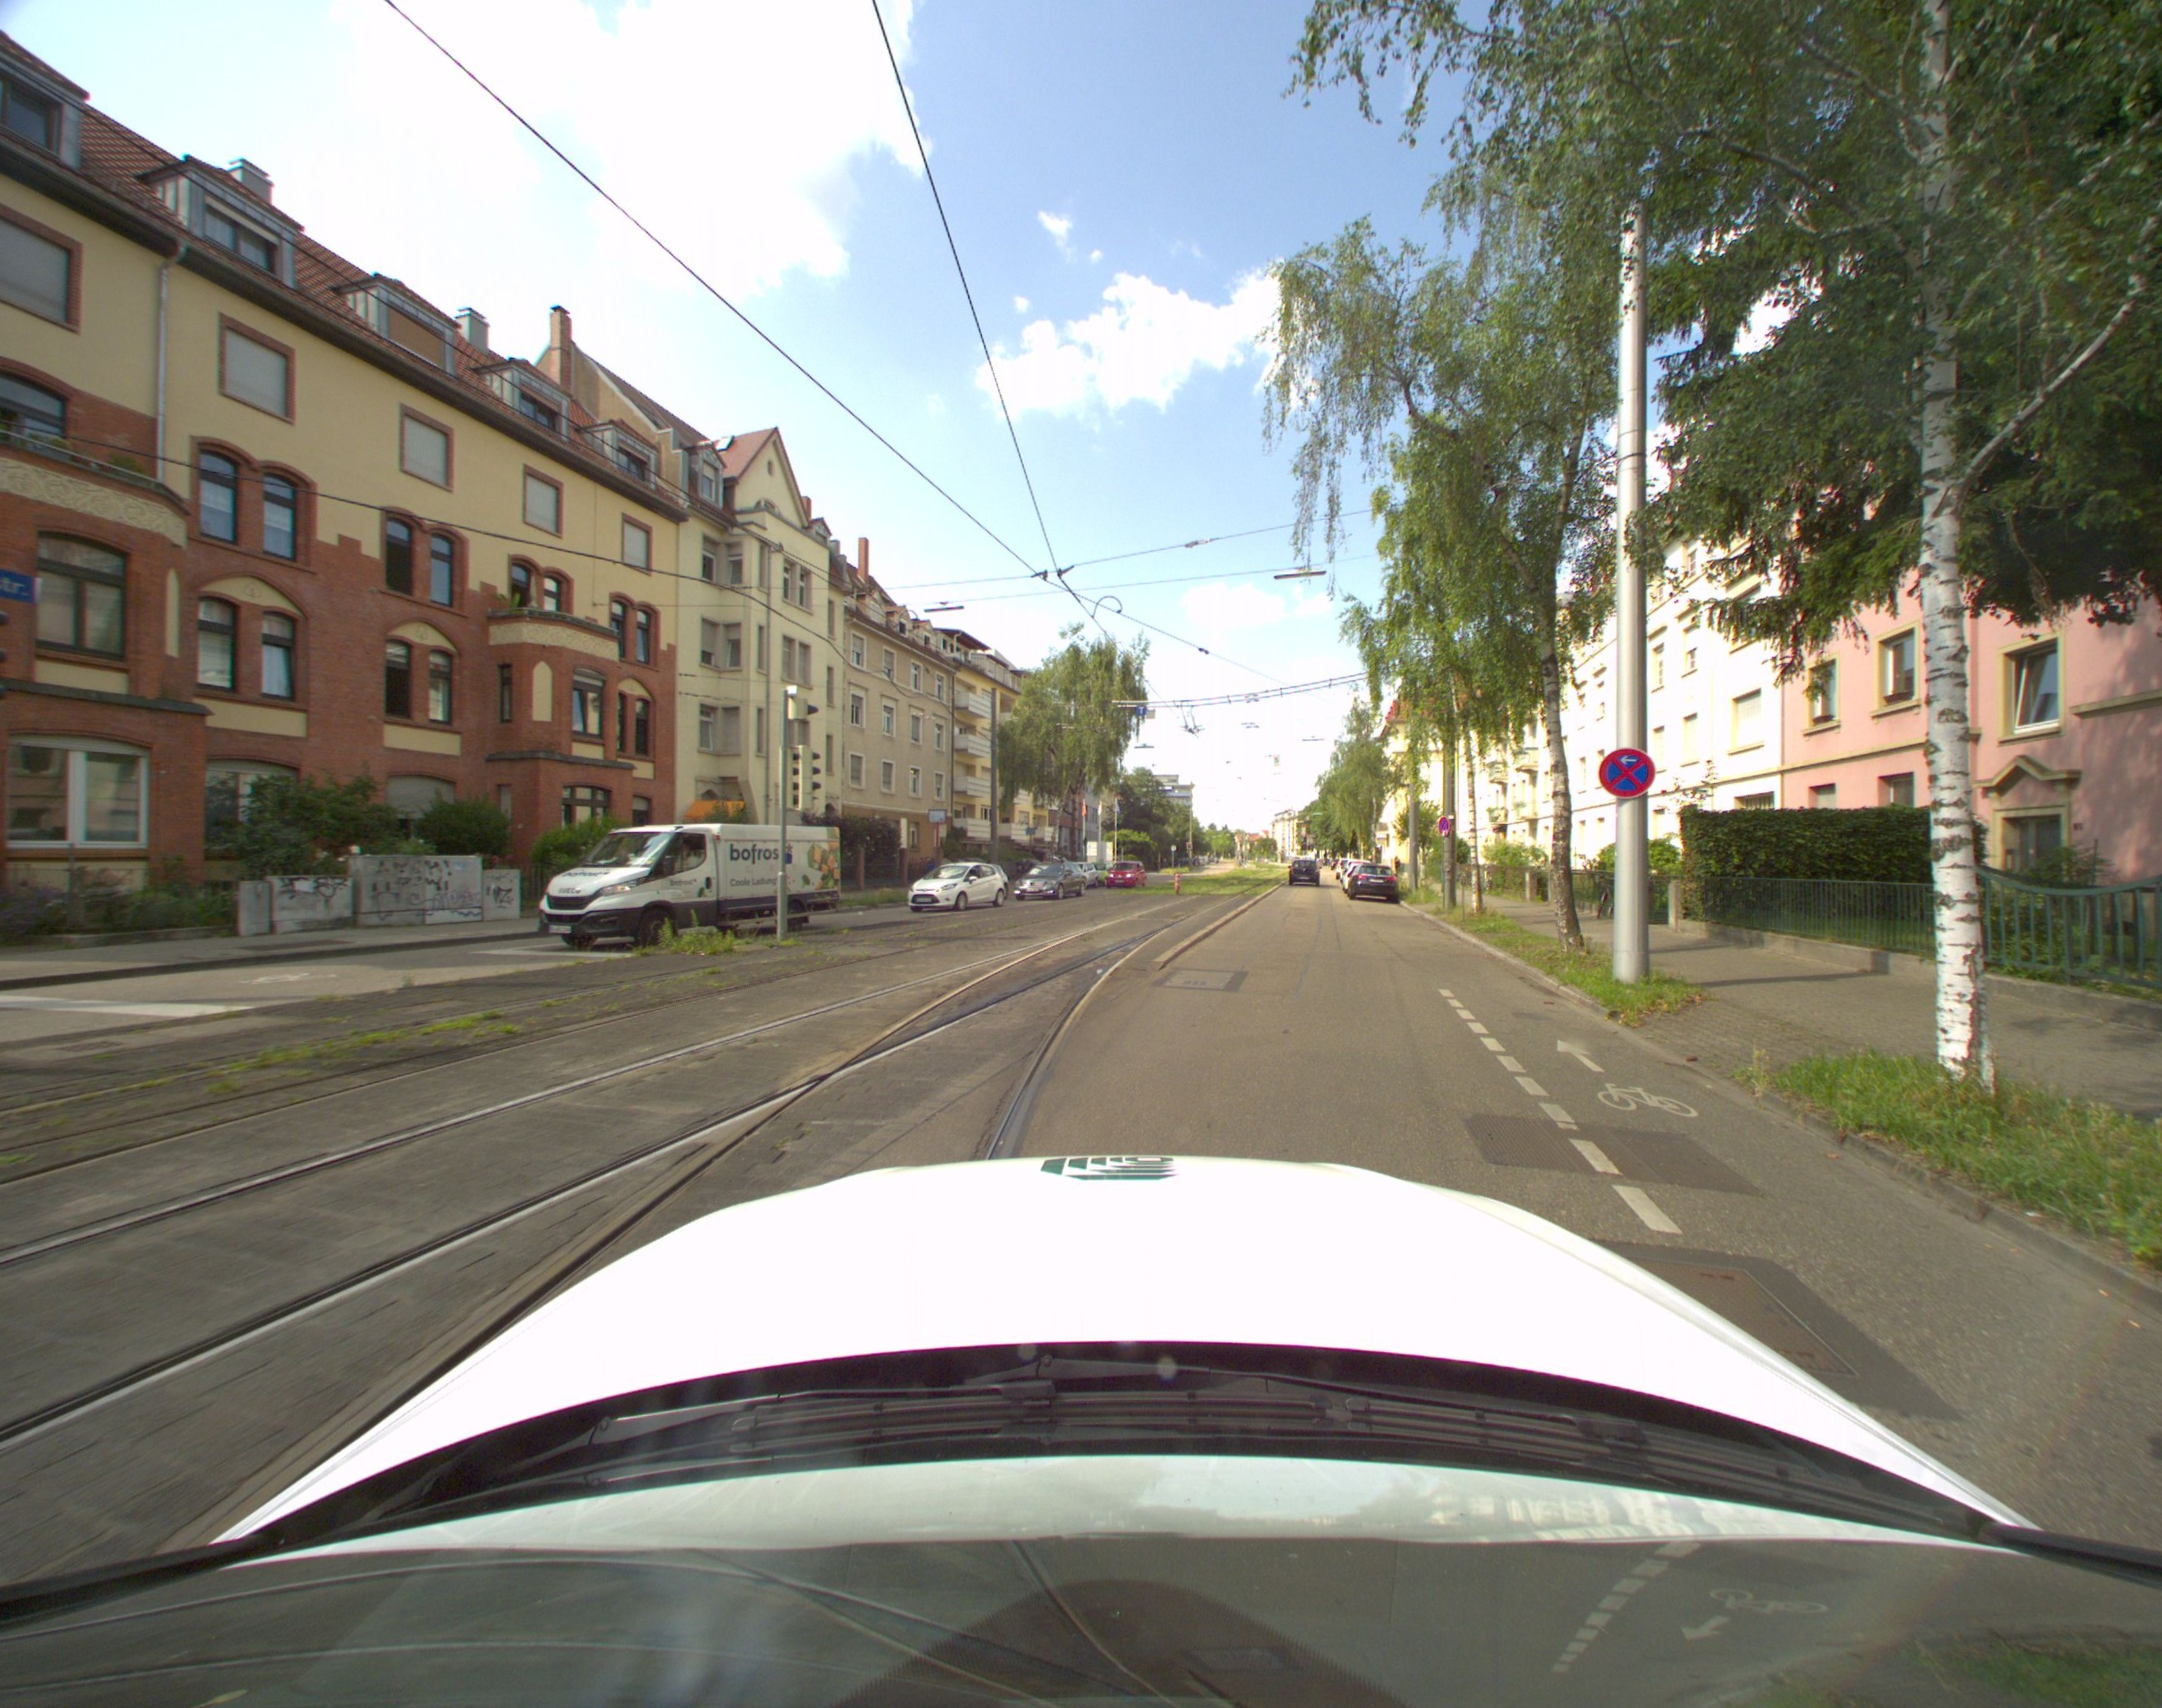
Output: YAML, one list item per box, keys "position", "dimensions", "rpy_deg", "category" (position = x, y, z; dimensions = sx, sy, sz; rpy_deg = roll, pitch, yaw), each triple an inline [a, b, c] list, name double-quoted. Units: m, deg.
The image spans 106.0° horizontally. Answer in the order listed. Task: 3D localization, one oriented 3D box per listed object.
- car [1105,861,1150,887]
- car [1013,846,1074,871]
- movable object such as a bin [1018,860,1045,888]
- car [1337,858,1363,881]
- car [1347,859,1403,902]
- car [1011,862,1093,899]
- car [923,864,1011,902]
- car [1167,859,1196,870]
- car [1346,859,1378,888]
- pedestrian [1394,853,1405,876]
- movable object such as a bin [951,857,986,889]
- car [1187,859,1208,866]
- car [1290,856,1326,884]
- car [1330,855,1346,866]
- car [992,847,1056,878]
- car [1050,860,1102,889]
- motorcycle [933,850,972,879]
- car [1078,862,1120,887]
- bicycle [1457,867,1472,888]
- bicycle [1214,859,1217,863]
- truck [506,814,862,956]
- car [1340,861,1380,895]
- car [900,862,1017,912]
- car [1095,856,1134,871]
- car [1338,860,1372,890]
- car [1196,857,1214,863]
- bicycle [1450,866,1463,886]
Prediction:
- position: [2.572, 1.071, 44.571]
  dimensions: [1.566, 1.387, 3.709]
  rpy_deg: [-1, -1, 17]
  category: "car"
- position: [-2.696, 0.328, 59.327]
  dimensions: [3.956, 1.602, 1.981]
  rpy_deg: [2, 0, 17]
  category: "car"
- position: [-2.703, 1.089, 44.311]
  dimensions: [0.943, 1.430, 1.528]
  rpy_deg: [3, 0, 16]
  category: "movable object such as a bin"
- position: [20.309, 1.157, 61.338]
  dimensions: [1.707, 1.629, 4.019]
  rpy_deg: [3, 0, 20]
  category: "car"
- position: [11.734, 1.005, 32.692]
  dimensions: [1.778, 1.520, 4.546]
  rpy_deg: [3, 1, 16]
  category: "car"
- position: [-1.052, 1.009, 32.312]
  dimensions: [1.741, 1.356, 4.533]
  rpy_deg: [-2, -1, 19]
  category: "car"
- position: [-4.298, 1.060, 31.290]
  dimensions: [1.741, 1.356, 4.013]
  rpy_deg: [0, -1, 19]
  category: "car"
- position: [15.204, 1.542, 123.101]
  dimensions: [4.143, 1.640, 1.710]
  rpy_deg: [1, 0, -29]
  category: "car"
- position: [16.710, 1.105, 48.545]
  dimensions: [1.482, 1.579, 3.774]
  rpy_deg: [3, 0, 15]
  category: "car"
- position: [24.609, 0.807, 62.988]
  dimensions: [0.723, 1.683, 0.694]
  rpy_deg: [-2, -1, 21]
  category: "pedestrian"
- position: [-5.267, 0.870, 38.214]
  dimensions: [0.944, 1.366, 1.528]
  rpy_deg: [5, 1, 16]
  category: "movable object such as a bin"
- position: [23.209, 1.783, 162.308]
  dimensions: [4.012, 1.367, 1.700]
  rpy_deg: [0, -1, -30]
  category: "car"
- position: [13.031, 0.908, 46.627]
  dimensions: [1.754, 1.462, 3.793]
  rpy_deg: [2, 0, 18]
  category: "car"
- position: [33.055, 0.856, 104.791]
  dimensions: [1.687, 1.368, 3.529]
  rpy_deg: [2, 0, 15]
  category: "car"
- position: [-4.023, 0.603, 57.512]
  dimensions: [3.954, 2.013, 1.947]
  rpy_deg: [2, 0, 20]
  category: "car"
- position: [-0.219, 1.096, 44.442]
  dimensions: [1.631, 1.477, 4.244]
  rpy_deg: [-1, -1, 17]
  category: "car"
- position: [-5.557, 0.440, 35.390]
  dimensions: [0.894, 1.242, 2.302]
  rpy_deg: [0, 0, 11]
  category: "motorcycle"
- position: [1.134, 1.217, 49.317]
  dimensions: [1.581, 1.432, 3.631]
  rpy_deg: [-1, -1, 18]
  category: "car"
- position: [18.239, 1.112, 38.747]
  dimensions: [0.375, 0.943, 2.018]
  rpy_deg: [0, 0, 16]
  category: "bicycle"
- position: [32.017, 1.617, 193.808]
  dimensions: [0.675, 0.971, 2.187]
  rpy_deg: [-1, -1, 15]
  category: "bicycle"
- position: [-7.318, 0.513, 16.231]
  dimensions: [2.166, 2.214, 6.646]
  rpy_deg: [-1, -1, 21]
  category: "truck"
- position: [13.402, 1.099, 39.314]
  dimensions: [1.607, 1.452, 3.935]
  rpy_deg: [4, 1, 17]
  category: "car"
- position: [-3.688, 0.972, 25.286]
  dimensions: [1.740, 1.415, 4.155]
  rpy_deg: [-2, -1, 21]
  category: "car"
- position: [3.695, 1.086, 90.475]
  dimensions: [3.959, 1.596, 2.007]
  rpy_deg: [0, 0, 14]
  category: "car"
- position: [14.818, 1.110, 44.149]
  dimensions: [1.577, 1.452, 3.861]
  rpy_deg: [4, 1, 17]
  category: "car"
- position: [29.198, 1.487, 192.254]
  dimensions: [4.004, 1.447, 1.715]
  rpy_deg: [0, 0, -24]
  category: "car"
- position: [18.739, 1.099, 40.645]
  dimensions: [0.384, 0.938, 1.592]
  rpy_deg: [0, 0, 16]
  category: "bicycle"
